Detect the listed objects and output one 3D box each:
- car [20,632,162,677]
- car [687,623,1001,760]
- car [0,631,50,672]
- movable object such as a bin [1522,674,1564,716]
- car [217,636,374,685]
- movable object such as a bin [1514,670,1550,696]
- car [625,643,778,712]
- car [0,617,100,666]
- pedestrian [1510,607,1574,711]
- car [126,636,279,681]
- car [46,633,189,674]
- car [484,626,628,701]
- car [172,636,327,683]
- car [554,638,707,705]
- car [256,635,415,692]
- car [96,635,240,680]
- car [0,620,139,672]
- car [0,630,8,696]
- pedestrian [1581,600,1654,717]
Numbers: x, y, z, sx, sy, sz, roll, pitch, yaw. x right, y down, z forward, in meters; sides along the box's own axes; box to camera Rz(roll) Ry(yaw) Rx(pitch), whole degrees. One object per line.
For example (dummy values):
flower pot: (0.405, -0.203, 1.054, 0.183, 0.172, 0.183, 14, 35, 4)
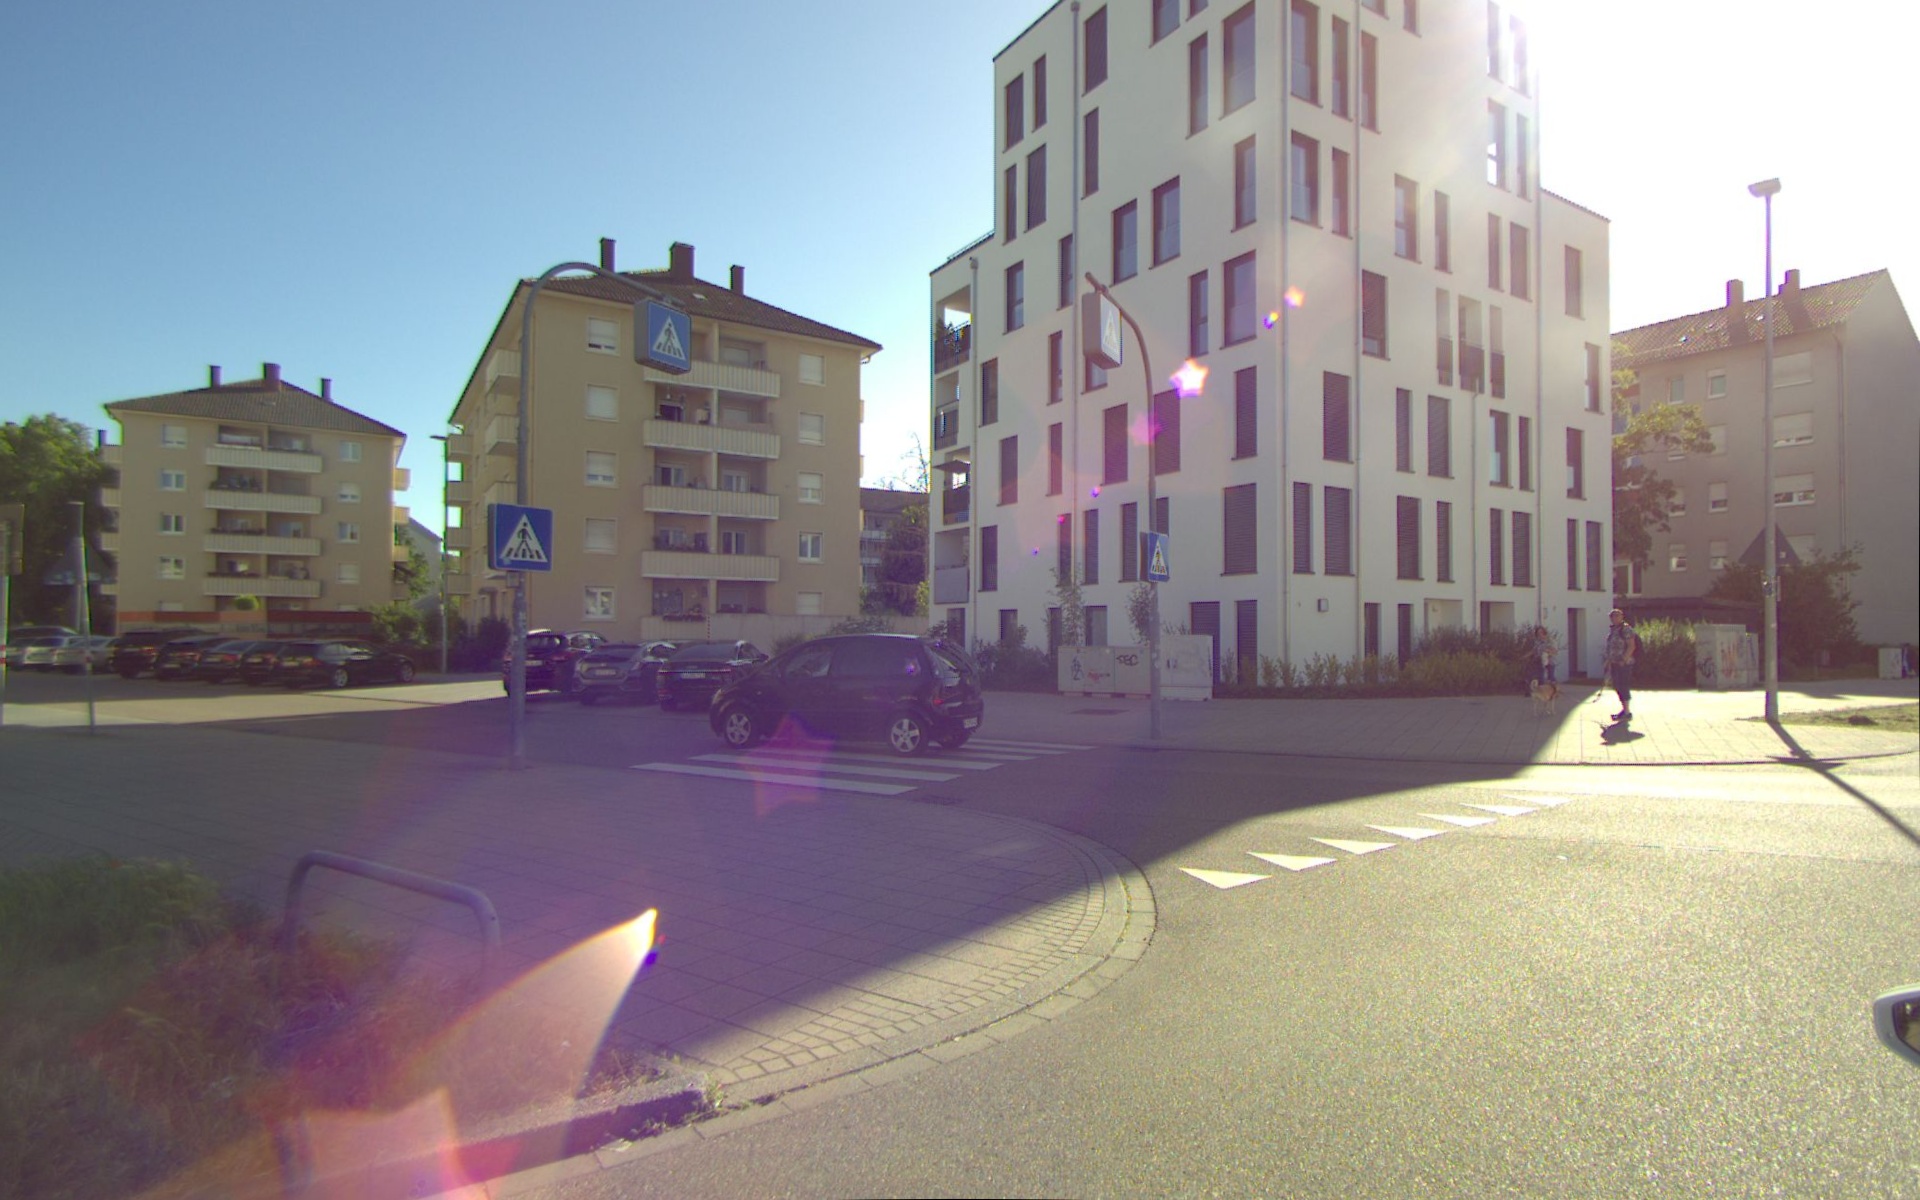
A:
car: (-35.984, 2.205, 41.723, 1.960, 1.662, 4.001, 2, 0, 18)
car: (-1.630, 1.182, 14.169, 4.034, 1.550, 1.742, 2, 0, 23)
car: (-47.270, 2.507, 48.857, 1.962, 1.862, 3.998, 2, 0, 24)
movable object such as a bin: (10.185, 1.655, 17.551, 0.839, 0.689, 0.270, 1, -2, -32)
car: (-21.282, 1.902, 32.394, 1.959, 1.327, 4.003, 1, -1, 11)
movable object such as a bin: (12.579, 1.823, 22.087, 0.674, 0.549, 0.272, 1, -1, -12)
car: (-5.497, 1.624, 22.044, 1.960, 1.182, 4.566, 0, -1, 3)
car: (-41.563, 1.802, 45.162, 1.959, 2.040, 4.003, 2, 0, 11)
pedestrian: (12.254, 1.230, 21.164, 0.939, 2.149, 0.776, -1, -1, 11)
car: (-26.570, 2.013, 35.415, 1.959, 1.327, 4.003, 1, -1, 11)
car: (-33.689, 2.096, 40.305, 1.959, 1.416, 4.003, 2, 0, 11)
car: (-10.052, 1.528, 25.340, 1.960, 1.673, 4.000, 0, 0, 1)
car: (-23.755, 1.951, 33.774, 1.959, 1.327, 4.003, 1, -1, 11)
car: (-7.768, 1.659, 24.209, 1.960, 1.450, 4.567, 0, -2, 3)
car: (-18.774, 1.868, 30.438, 1.959, 1.420, 4.002, 2, 0, 8)
car: (-29.122, 2.075, 37.104, 1.960, 1.272, 4.001, 2, 1, 6)
car: (-38.117, 1.916, 43.120, 1.959, 2.040, 4.002, 2, 0, 13)
car: (-24.340, 1.439, 23.301, 3.924, 1.535, 1.908, -1, -3, 25)
pedestrian: (11.180, 0.967, 17.084, 0.785, 1.910, 0.836, 2, 0, -43)
